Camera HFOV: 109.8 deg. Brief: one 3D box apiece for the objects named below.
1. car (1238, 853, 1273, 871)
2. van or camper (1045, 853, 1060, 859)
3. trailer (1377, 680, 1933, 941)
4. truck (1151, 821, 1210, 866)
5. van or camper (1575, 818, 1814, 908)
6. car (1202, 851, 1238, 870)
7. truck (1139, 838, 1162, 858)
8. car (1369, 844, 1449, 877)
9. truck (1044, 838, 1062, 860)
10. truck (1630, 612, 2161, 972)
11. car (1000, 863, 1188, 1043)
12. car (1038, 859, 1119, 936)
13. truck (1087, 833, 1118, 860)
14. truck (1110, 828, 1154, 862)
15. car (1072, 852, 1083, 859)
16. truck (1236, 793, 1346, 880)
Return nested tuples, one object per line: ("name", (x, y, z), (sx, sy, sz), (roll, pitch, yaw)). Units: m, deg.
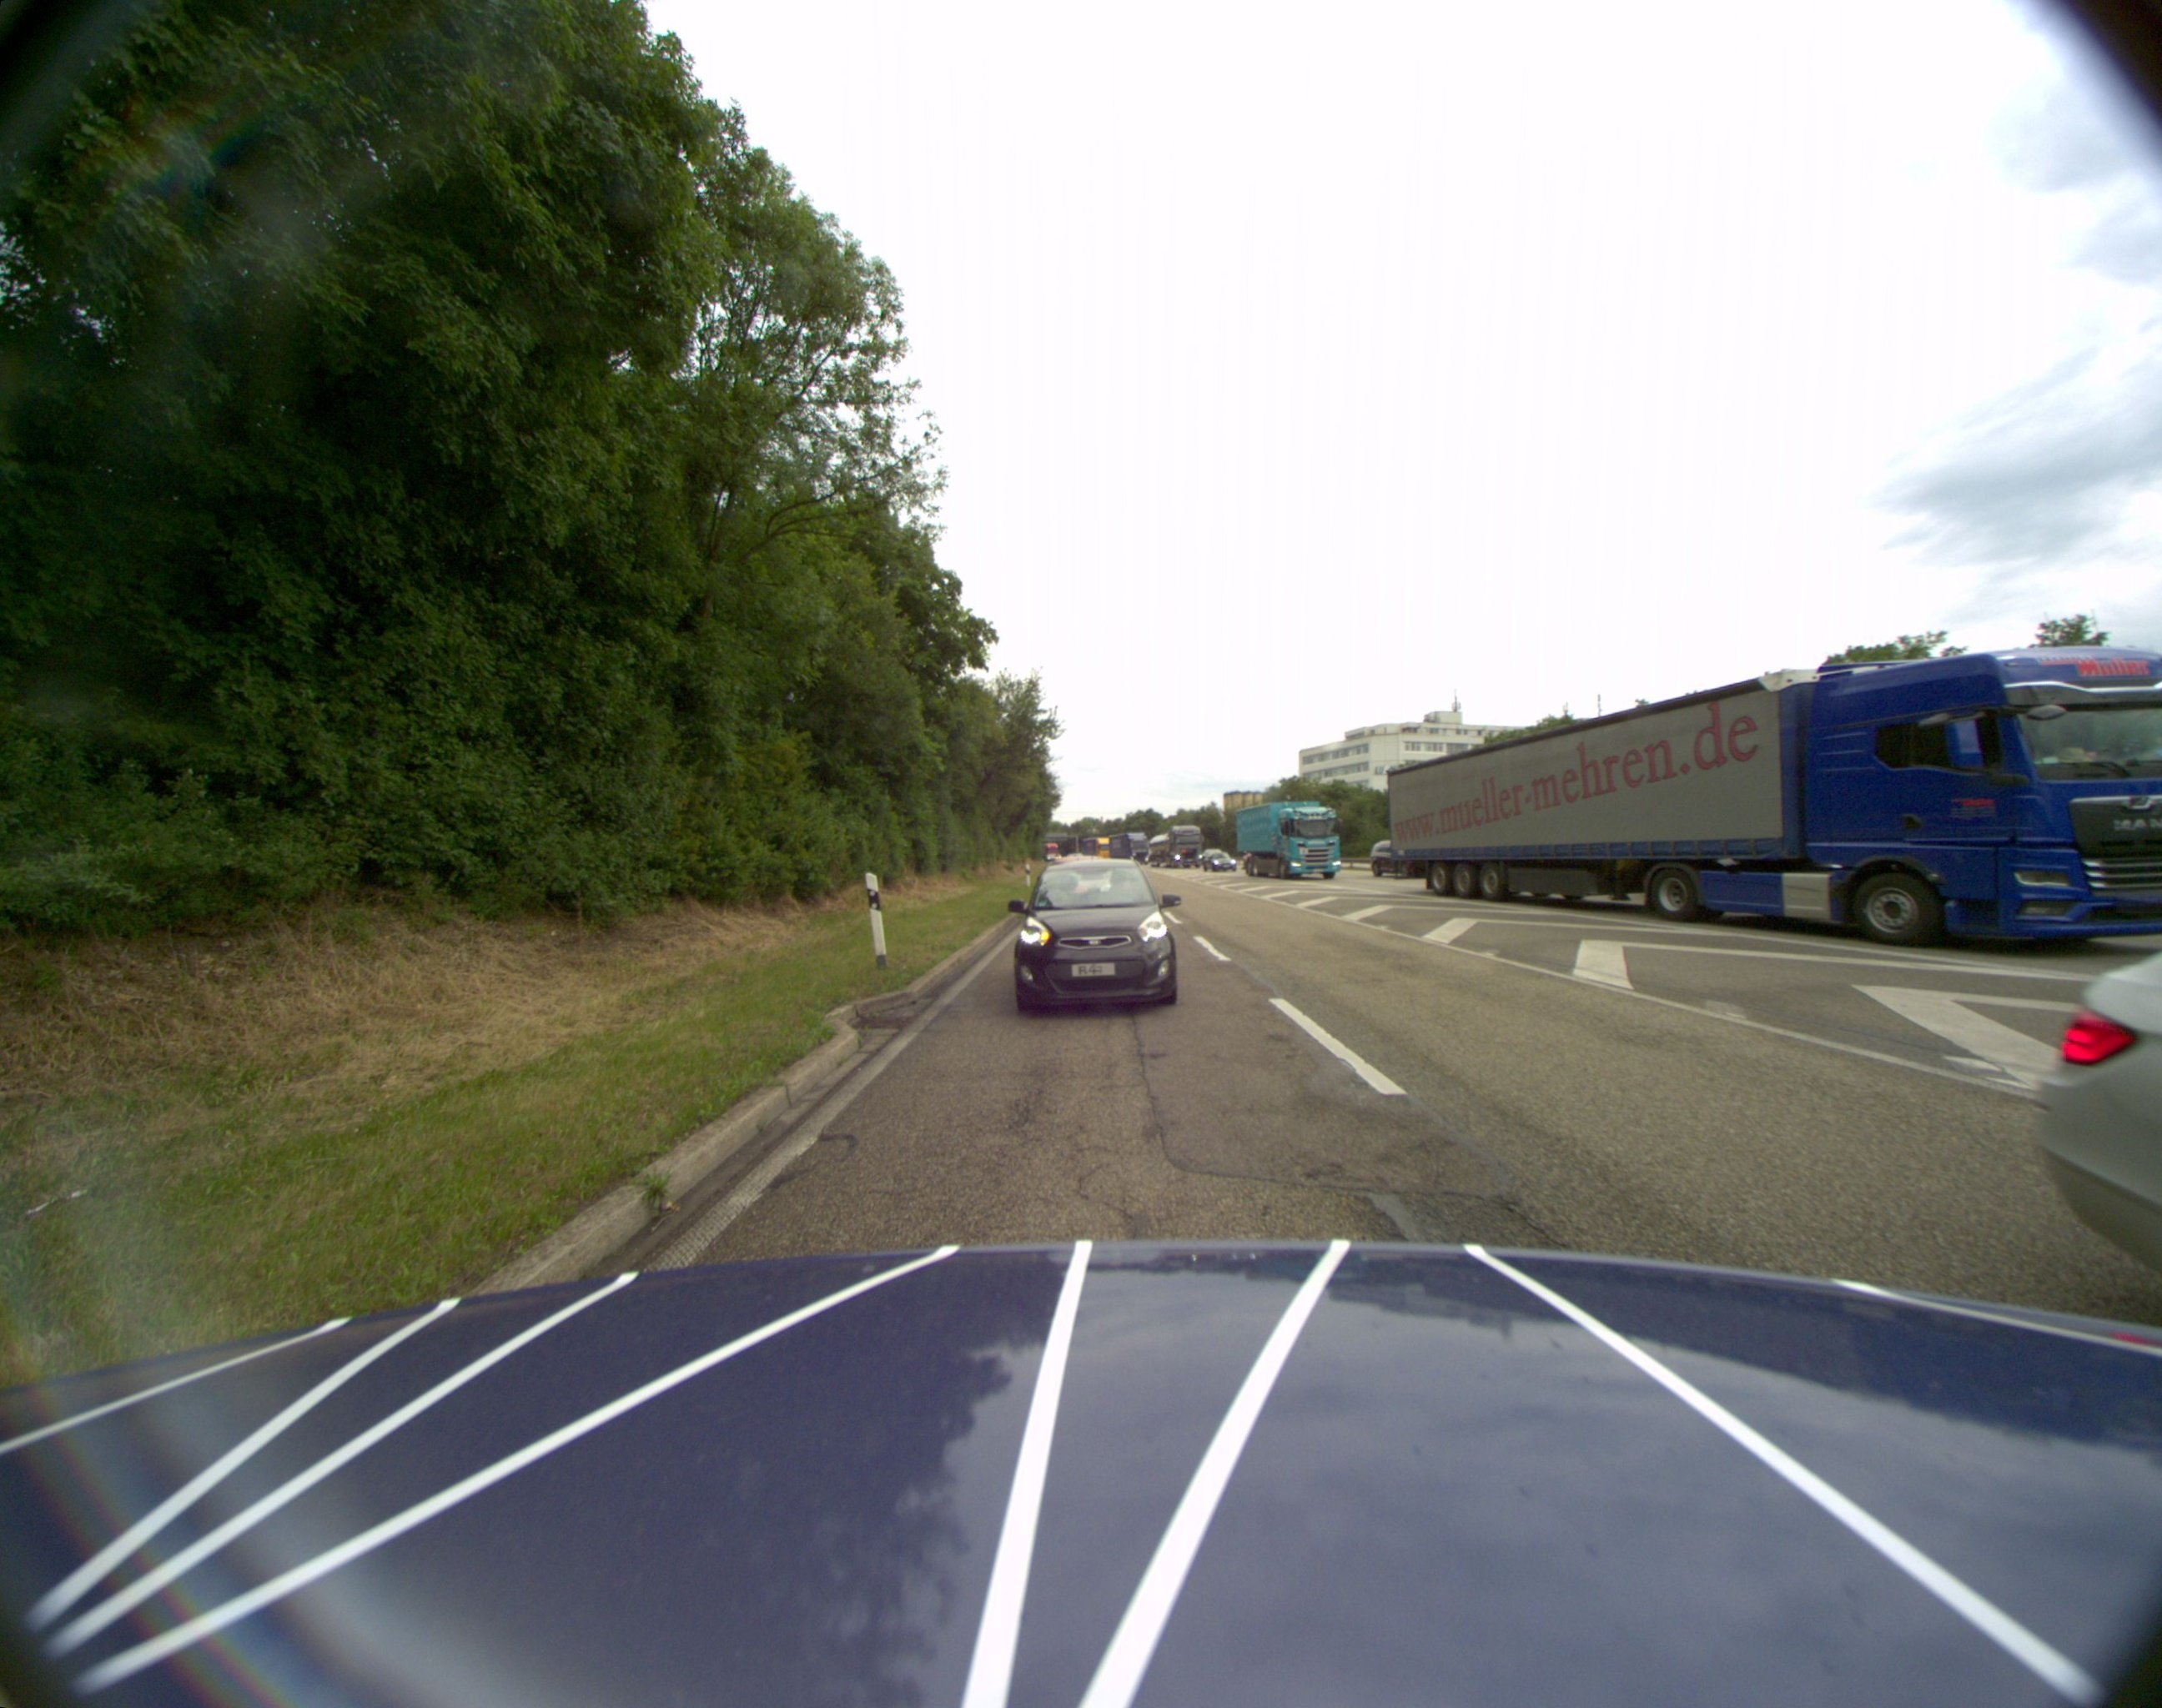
("car", (14.694, 0.625, 64.219), (1.898, 1.425, 4.054), (-1, 0, -3))
("van or camper", (-5.861, 0.360, 155.348), (2.348, 1.276, 4.468), (-1, 0, -10))
("trailer", (11.557, -0.698, 18.625), (2.680, 3.951, 13.916), (-2, 0, -2))
("truck", (9.549, -0.974, 74.933), (3.328, 3.902, 13.140), (-2, 0, -3))
("van or camper", (14.765, 0.184, 18.749), (1.925, 1.909, 4.850), (-1, 0, -1))
("car", (10.193, 0.464, 55.889), (1.757, 1.314, 3.999), (-2, 0, -2))
("truck", (13.875, -1.152, 152.443), (2.001, 3.739, 7.537), (-1, 0, -14))
("car", (15.394, 0.269, 35.934), (1.898, 1.425, 3.999), (-1, 0, -3))
("truck", (-6.826, -1.217, 182.249), (2.848, 5.070, 14.111), (-2, 0, -8))
("truck", (11.781, -0.712, 11.365), (2.676, 3.938, 5.926), (-2, 0, -2))
("car", (0.159, 0.886, 8.612), (1.584, 1.485, 4.000), (-2, 0, 1))
("car", (-0.046, 0.905, 17.228), (1.630, 1.492, 3.564), (-1, 0, 0))
("truck", (3.446, -1.126, 126.790), (2.848, 4.206, 14.111), (-2, 0, -8))
("truck", (6.556, -1.143, 100.925), (2.815, 4.206, 13.995), (-2, 0, -8))
("car", (-0.627, 0.310, 146.823), (1.636, 1.328, 3.192), (-1, 0, -10))
("truck", (10.838, -0.846, 40.471), (2.700, 3.977, 10.122), (-2, 0, -2))
